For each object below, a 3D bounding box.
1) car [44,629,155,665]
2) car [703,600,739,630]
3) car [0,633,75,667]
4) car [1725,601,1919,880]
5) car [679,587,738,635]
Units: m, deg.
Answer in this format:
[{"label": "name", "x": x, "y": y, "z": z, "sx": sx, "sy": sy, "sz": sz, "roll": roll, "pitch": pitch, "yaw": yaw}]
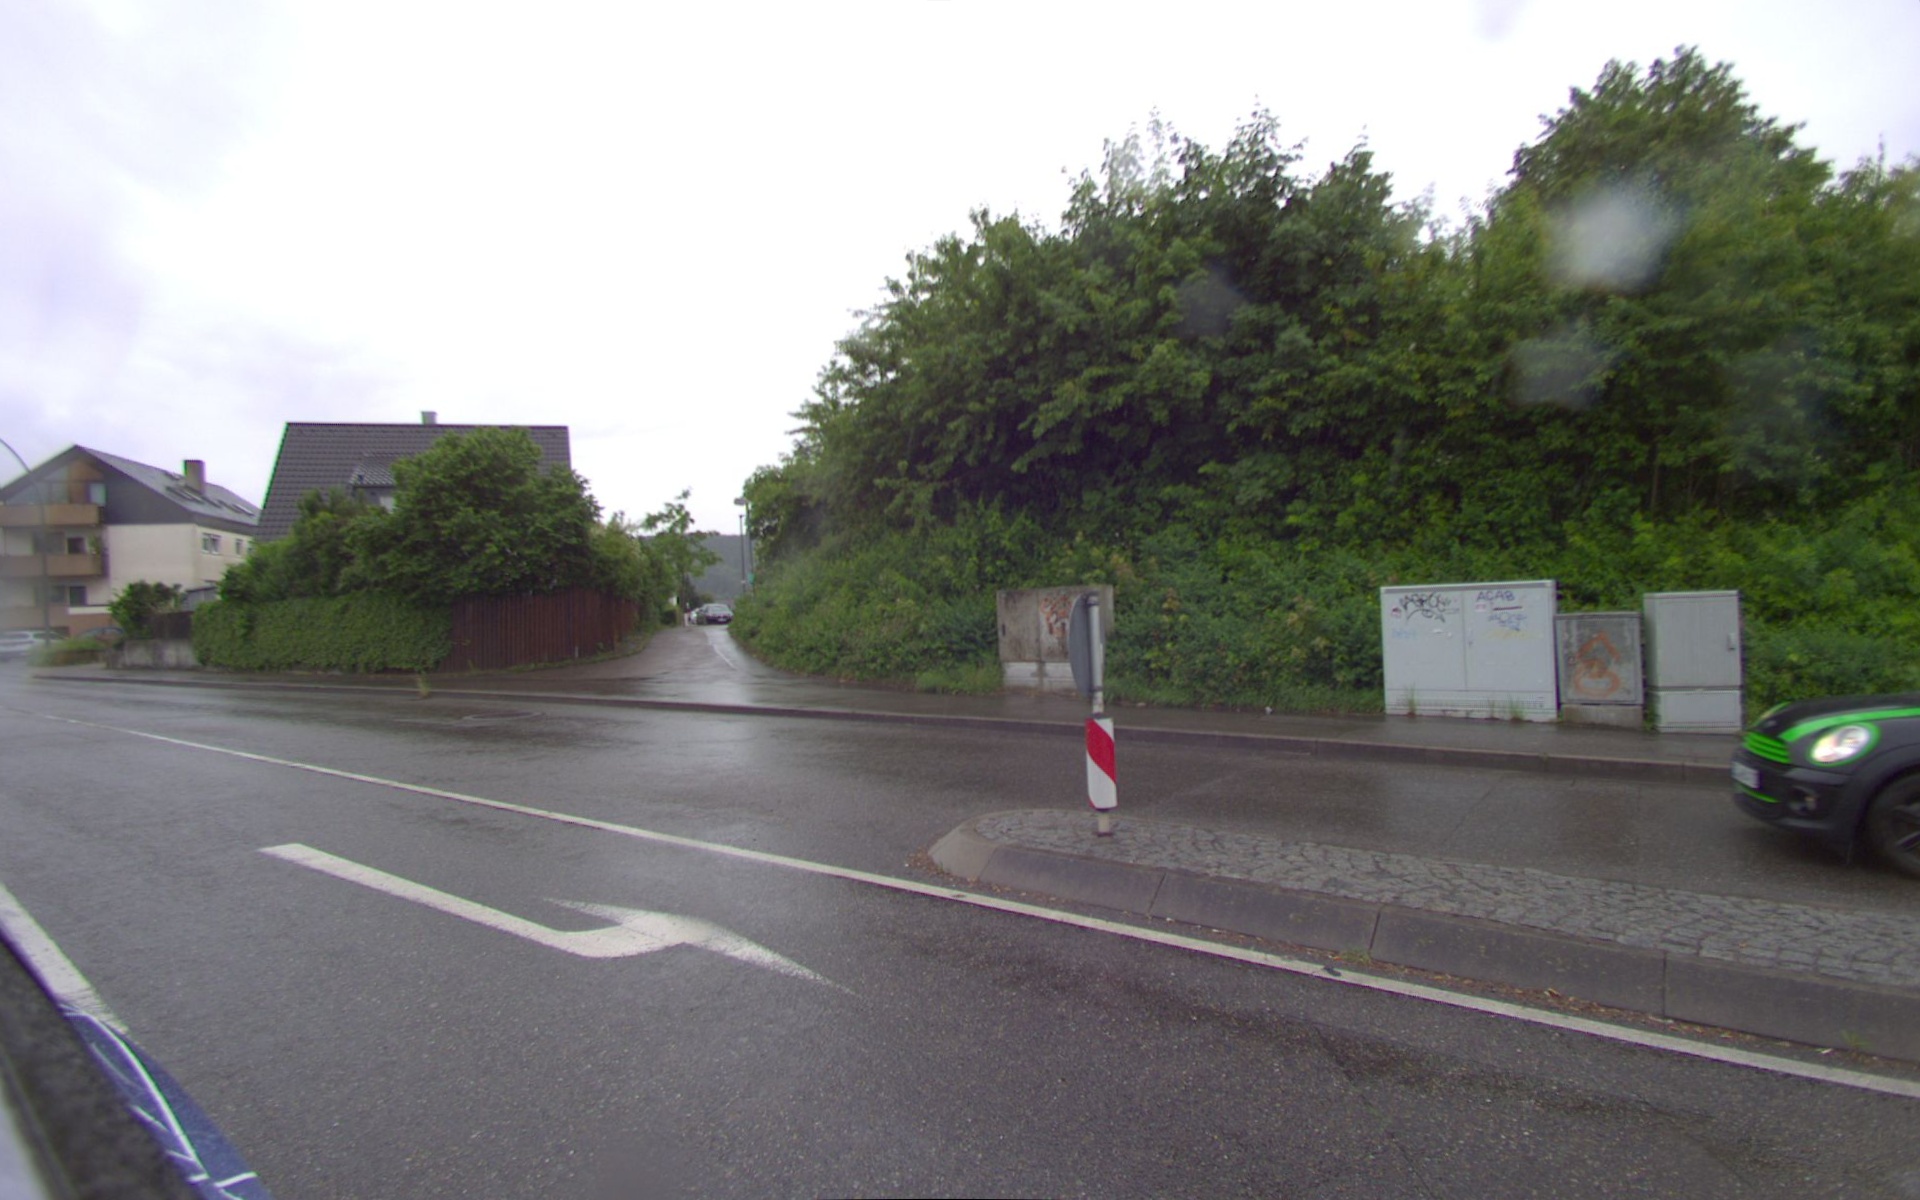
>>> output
[{"label": "car", "x": -41.180, "y": 2.217, "z": 48.519, "sx": 3.609, "sy": 1.530, "sz": 1.759, "roll": -2, "pitch": 0, "yaw": -15}, {"label": "car", "x": -15.579, "y": 0.945, "z": 66.166, "sx": 1.968, "sy": 1.873, "sz": 4.008, "roll": -2, "pitch": 0, "yaw": -9}, {"label": "car", "x": -46.781, "y": 2.503, "z": 50.976, "sx": 1.837, "sy": 1.530, "sz": 4.012, "roll": -2, "pitch": 0, "yaw": -18}, {"label": "car", "x": 6.476, "y": 0.699, "z": 5.424, "sx": 3.439, "sy": 1.397, "sz": 1.668, "roll": -2, "pitch": 0, "yaw": 24}, {"label": "car", "x": -9.163, "y": 0.390, "z": 37.045, "sx": 1.683, "sy": 1.600, "sz": 3.668, "roll": -1, "pitch": 0, "yaw": -8}]
